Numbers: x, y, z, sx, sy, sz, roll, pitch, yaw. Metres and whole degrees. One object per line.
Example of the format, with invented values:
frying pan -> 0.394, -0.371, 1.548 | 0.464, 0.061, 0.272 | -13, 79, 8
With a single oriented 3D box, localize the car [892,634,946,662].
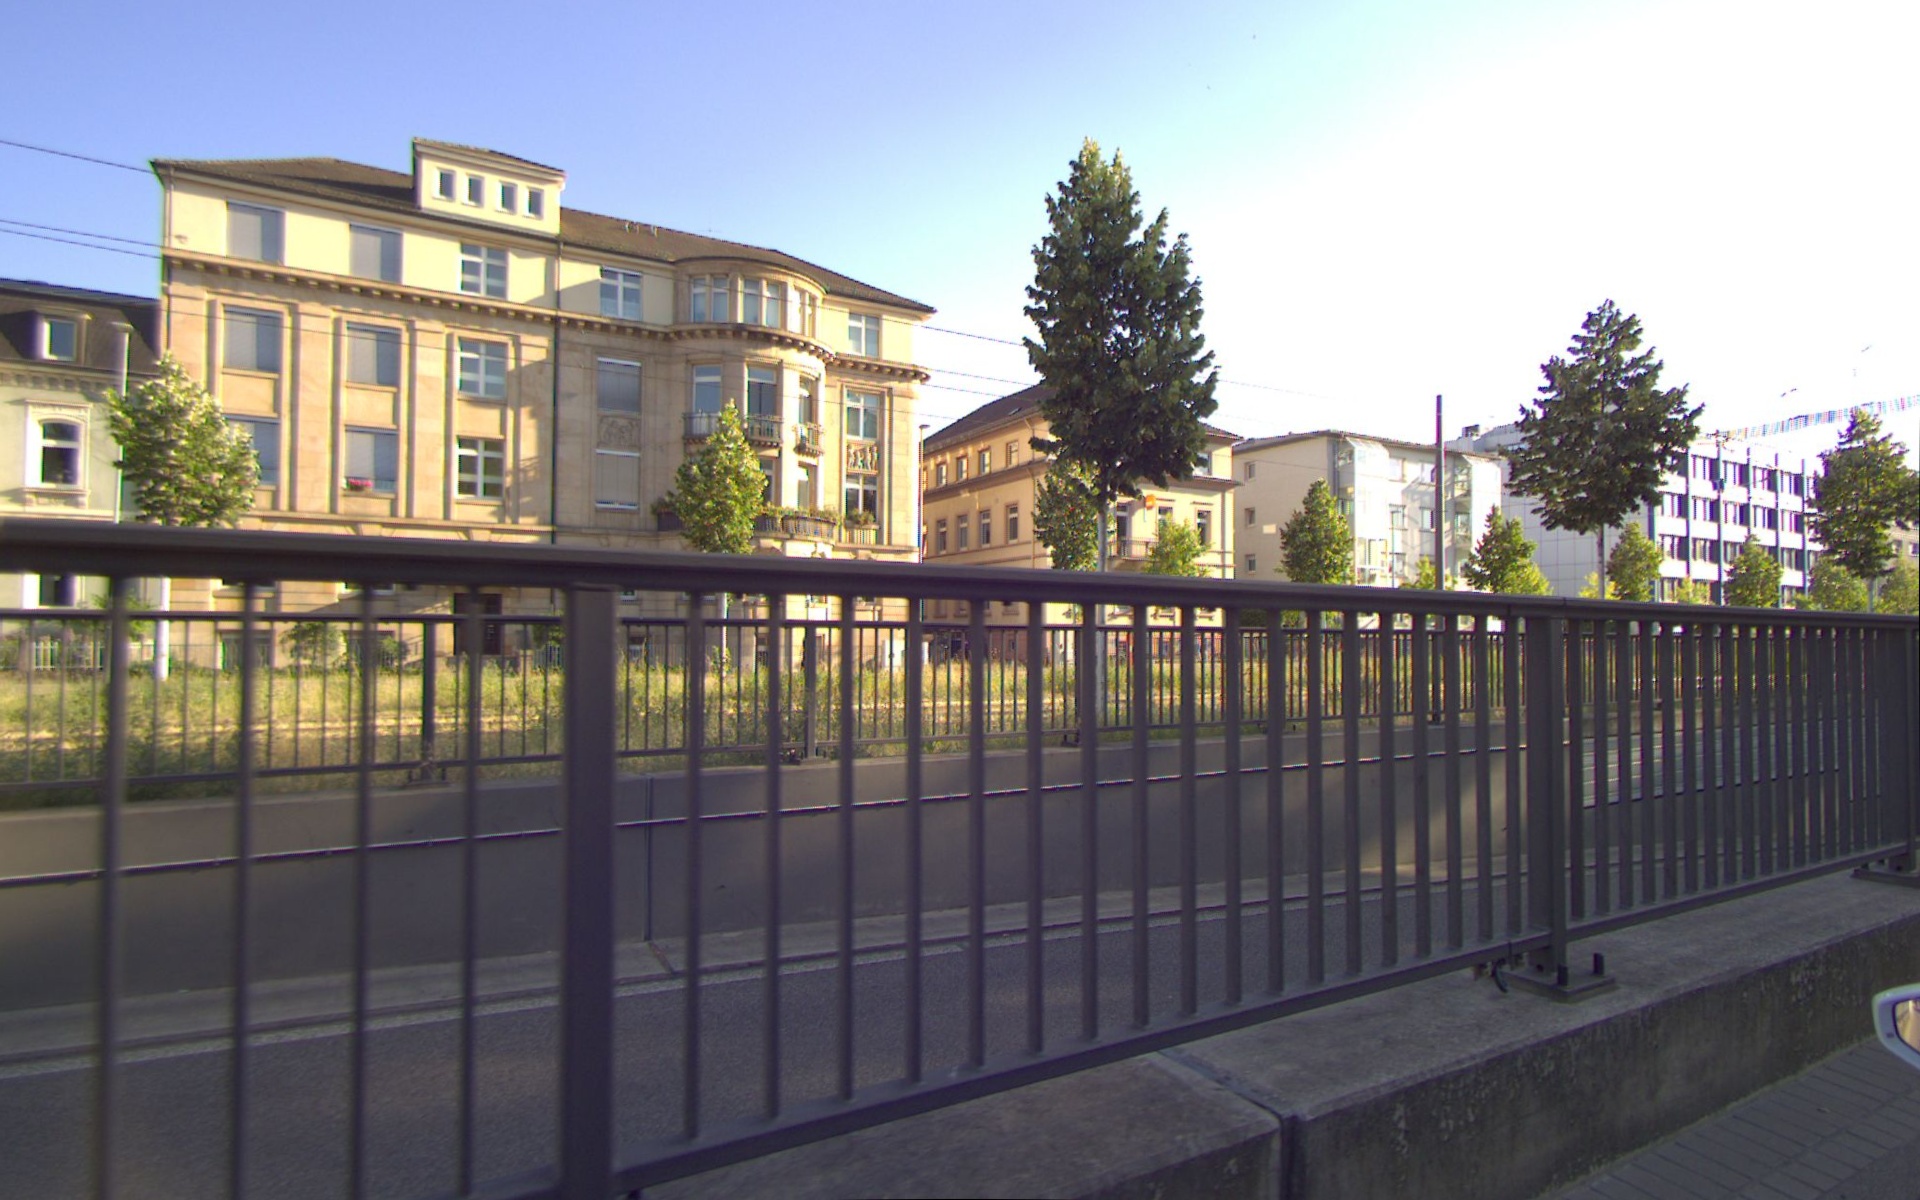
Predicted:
car -> -2.501, 2.834, 59.814 | 1.661, 1.488, 3.971 | 2, -1, -28

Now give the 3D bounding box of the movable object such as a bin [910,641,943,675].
movable object such as a bin -> -1.490, 2.548, 44.389 | 1.067, 1.447, 1.200 | 1, -2, -30

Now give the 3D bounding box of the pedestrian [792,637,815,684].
pedestrian -> -5.987, 2.307, 38.408 | 0.645, 1.743, 0.653 | 1, -2, -30

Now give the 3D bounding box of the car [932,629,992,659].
car -> 0.072, 2.405, 55.250 | 1.661, 1.488, 3.971 | 2, -1, -28

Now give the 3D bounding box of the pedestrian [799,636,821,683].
pedestrian -> -5.634, 2.236, 37.670 | 0.645, 1.743, 0.553 | 1, -2, -30
